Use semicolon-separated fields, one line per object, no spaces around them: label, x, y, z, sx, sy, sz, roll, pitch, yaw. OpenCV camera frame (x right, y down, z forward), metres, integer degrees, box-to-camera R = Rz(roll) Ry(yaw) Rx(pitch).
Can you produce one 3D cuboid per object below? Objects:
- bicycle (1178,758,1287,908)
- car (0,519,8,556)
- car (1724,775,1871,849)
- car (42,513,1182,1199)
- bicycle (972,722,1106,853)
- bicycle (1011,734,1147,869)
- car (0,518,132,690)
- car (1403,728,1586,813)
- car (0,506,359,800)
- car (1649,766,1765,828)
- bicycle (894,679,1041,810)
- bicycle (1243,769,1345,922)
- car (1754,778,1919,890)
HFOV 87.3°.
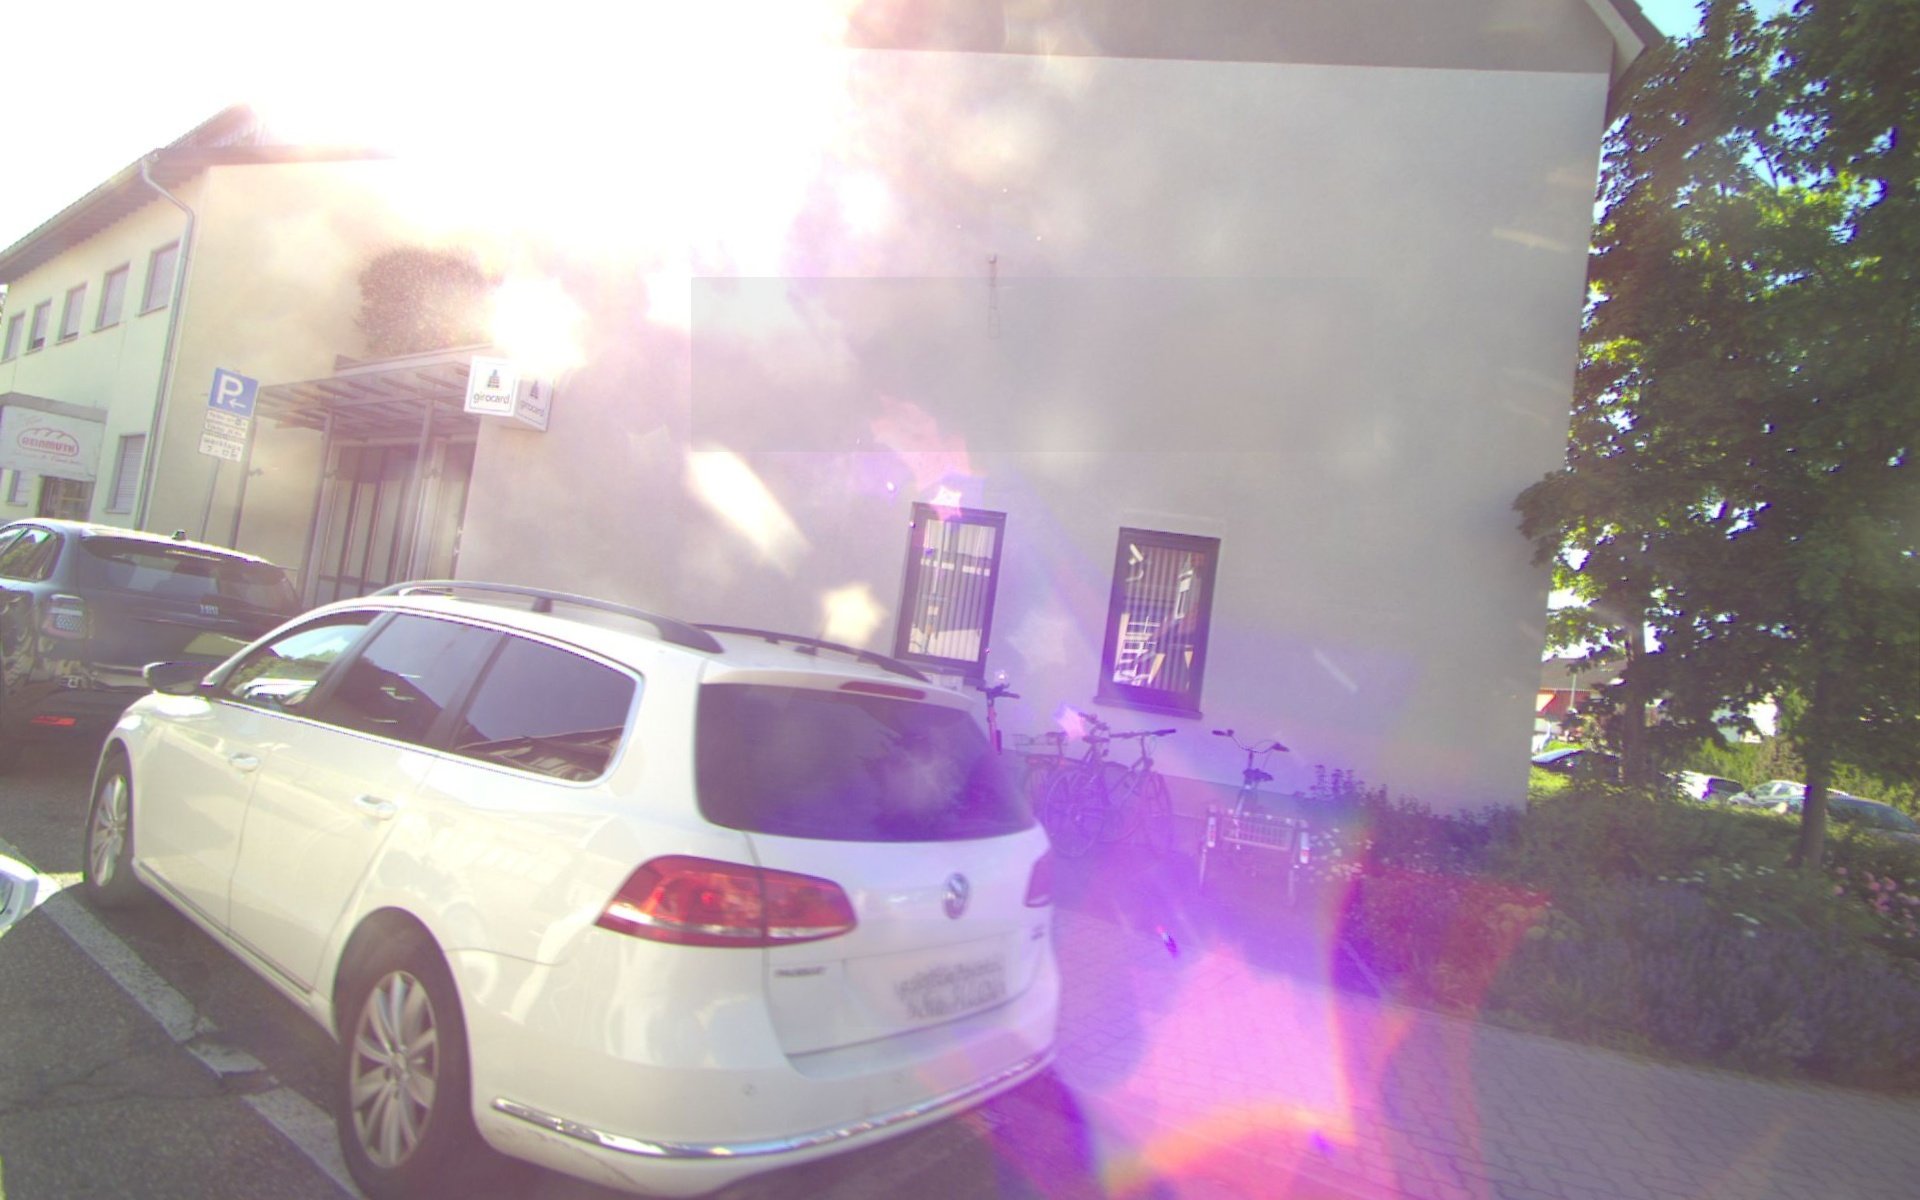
bicycle;1.965;1.617;7.173;0.308;0.930;1.165;7;-3;33
car;-14.076;-0.579;12.897;4.376;1.490;1.812;6;-6;37
car;24.930;6.264;30.120;1.666;1.515;3.731;6;-3;10
car;-1.679;0.682;3.824;4.440;1.530;1.848;6;-4;39
bicycle;0.652;1.496;8.045;0.309;0.930;1.162;6;-4;43
bicycle;0.941;1.547;7.776;0.309;0.930;1.162;6;-4;43
car;-10.341;-0.150;10.379;3.816;1.490;1.729;6;-6;37
car;13.703;4.336;25.988;3.931;1.425;1.800;7;-3;28
car;-6.143;0.254;7.103;3.909;1.536;1.614;6;-5;35
car;26.088;6.857;35.272;1.666;1.515;3.731;6;-3;10
bicycle;0.085;1.226;8.404;1.219;0.986;0.316;11;-3;-41
bicycle;2.399;1.704;7.157;0.308;0.930;1.165;7;-3;33
car;17.262;4.478;19.569;1.782;1.510;4.307;7;-3;26
